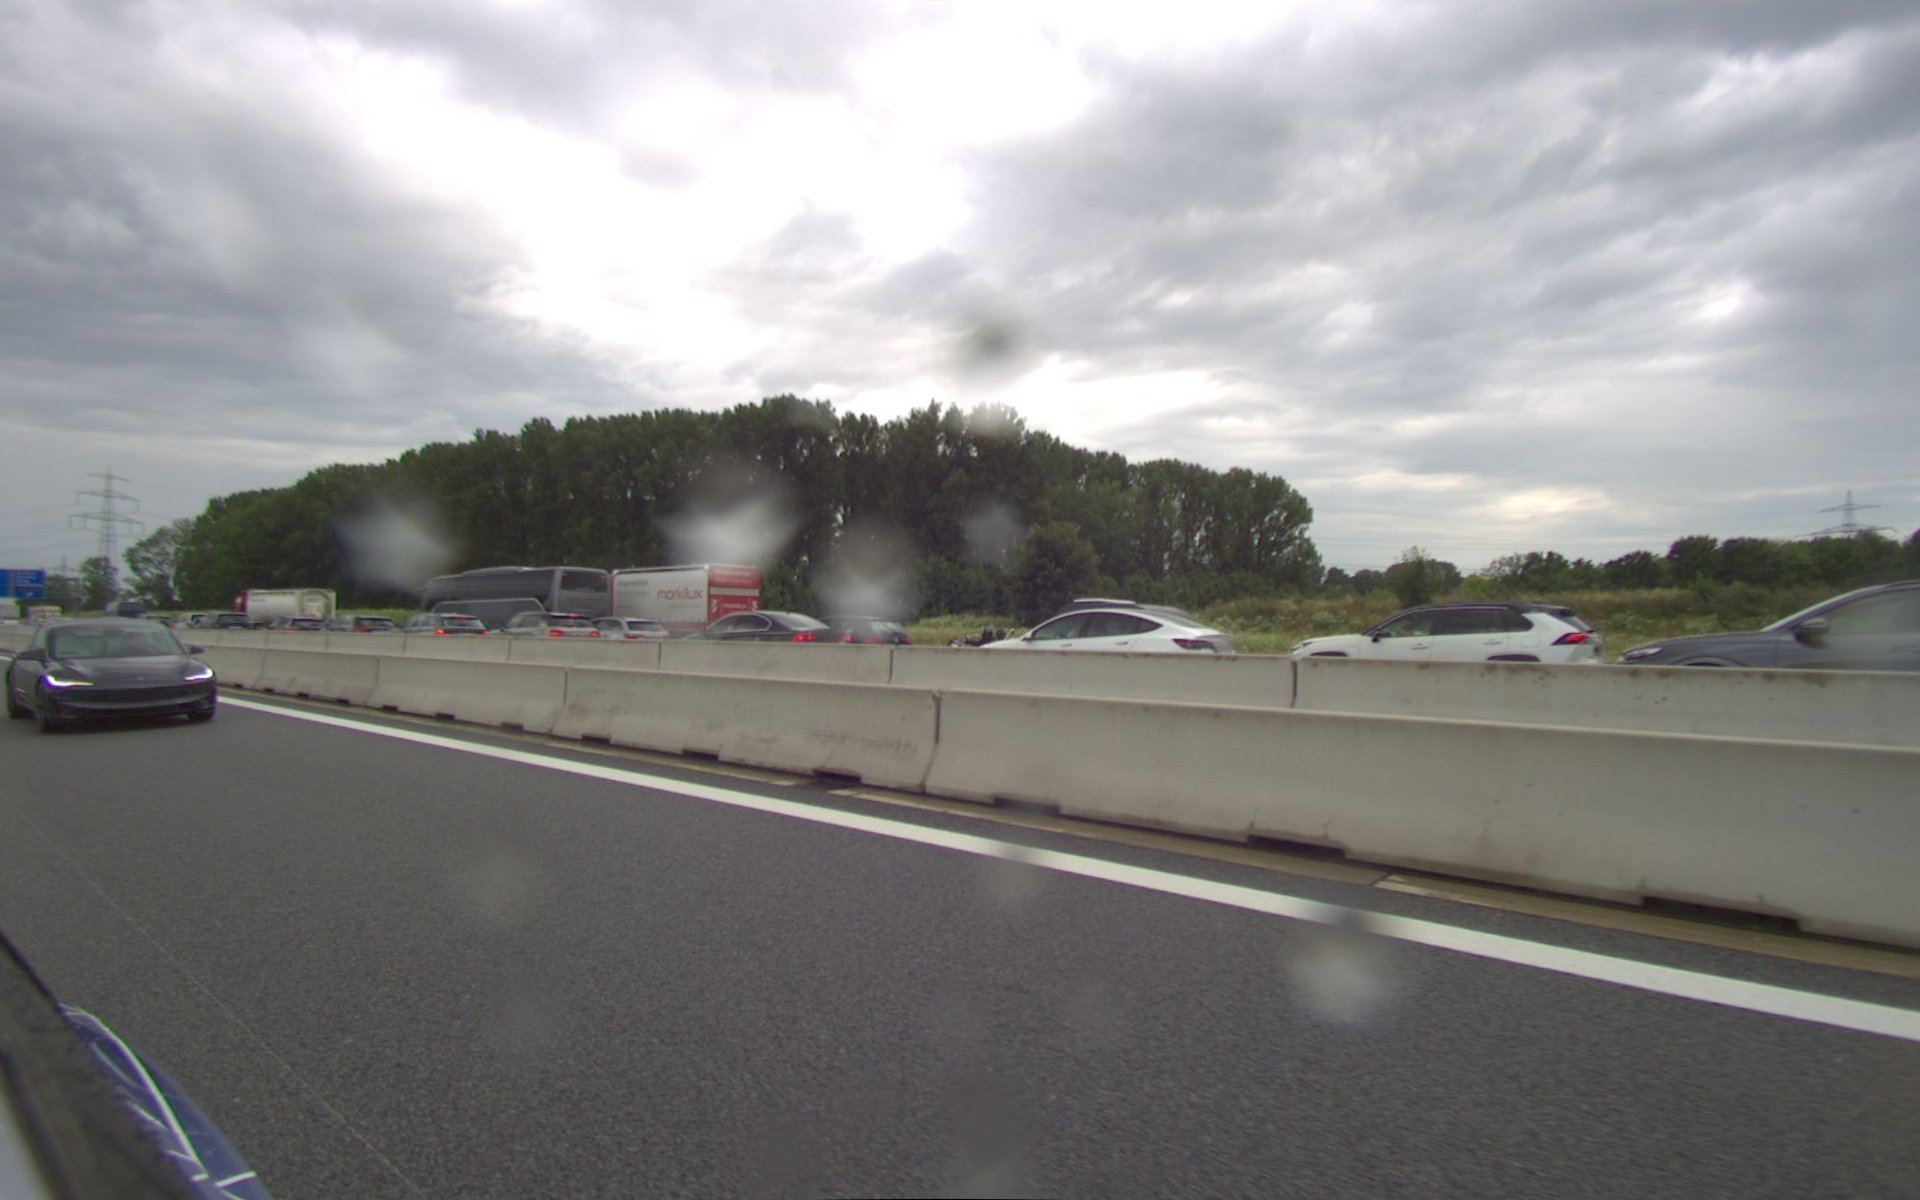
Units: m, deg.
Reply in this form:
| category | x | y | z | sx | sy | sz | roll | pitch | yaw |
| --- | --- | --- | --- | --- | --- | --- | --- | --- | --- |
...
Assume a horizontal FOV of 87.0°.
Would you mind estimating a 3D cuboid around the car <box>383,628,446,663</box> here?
| category | x | y | z | sx | sy | sz | roll | pitch | yaw |
| --- | --- | --- | --- | --- | --- | --- | --- | --- | --- |
| car | -33.487 | 2.744 | 62.082 | 4.423 | 2.029 | 1.973 | -1 | -1 | 41 |

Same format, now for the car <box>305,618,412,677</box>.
| category | x | y | z | sx | sy | sz | roll | pitch | yaw |
| --- | --- | --- | --- | --- | --- | --- | --- | --- | --- |
| car | -21.716 | 1.666 | 36.460 | 4.694 | 1.982 | 1.973 | -1 | -1 | 41 |

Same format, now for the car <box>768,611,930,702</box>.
| category | x | y | z | sx | sy | sz | roll | pitch | yaw |
| --- | --- | --- | --- | --- | --- | --- | --- | --- | --- |
| car | -2.782 | 1.324 | 24.969 | 3.709 | 2.029 | 1.973 | -1 | -1 | 41 |

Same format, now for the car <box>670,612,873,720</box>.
| category | x | y | z | sx | sy | sz | roll | pitch | yaw |
| --- | --- | --- | --- | --- | --- | --- | --- | --- | --- |
| car | -4.068 | 1.306 | 21.489 | 4.347 | 2.029 | 1.973 | -1 | -1 | 41 |

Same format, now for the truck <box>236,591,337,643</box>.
| category | x | y | z | sx | sy | sz | roll | pitch | yaw |
| --- | --- | --- | --- | --- | --- | --- | --- | --- | --- |
| truck | -52.661 | 1.339 | 78.899 | 13.291 | 3.774 | 3.116 | -1 | -1 | 41 |

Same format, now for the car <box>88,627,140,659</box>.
| category | x | y | z | sx | sy | sz | roll | pitch | yaw |
| --- | --- | --- | --- | --- | --- | --- | --- | --- | --- |
| car | -56.450 | 2.842 | 67.490 | 4.694 | 1.982 | 1.973 | -1 | -1 | 41 |

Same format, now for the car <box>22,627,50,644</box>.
| category | x | y | z | sx | sy | sz | roll | pitch | yaw |
| --- | --- | --- | --- | --- | --- | --- | --- | --- | --- |
| car | -116.241 | 4.475 | 127.335 | 4.804 | 2.029 | 1.974 | -1 | -1 | 39 |

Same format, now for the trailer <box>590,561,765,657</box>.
| category | x | y | z | sx | sy | sz | roll | pitch | yaw |
| --- | --- | --- | --- | --- | --- | --- | --- | --- | --- |
| trailer | -12.466 | 0.444 | 44.108 | 9.156 | 3.791 | 2.830 | -1 | -2 | 41 |

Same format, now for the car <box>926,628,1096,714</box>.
| category | x | y | z | sx | sy | sz | roll | pitch | yaw |
| --- | --- | --- | --- | --- | --- | --- | --- | --- | --- |
| car | 1.286 | 1.755 | 26.435 | 3.998 | 2.029 | 2.094 | -1 | -1 | 41 |

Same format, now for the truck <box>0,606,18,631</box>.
| category | x | y | z | sx | sy | sz | roll | pitch | yaw |
| --- | --- | --- | --- | --- | --- | --- | --- | --- | --- |
| truck | -166.409 | 3.242 | 175.337 | 13.940 | 4.345 | 3.116 | -1 | -1 | 40 |

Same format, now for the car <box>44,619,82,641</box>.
| category | x | y | z | sx | sy | sz | roll | pitch | yaw |
| --- | --- | --- | --- | --- | --- | --- | --- | --- | --- |
| car | -70.654 | 2.351 | 79.696 | 3.998 | 1.732 | 1.785 | -1 | -1 | 41 |

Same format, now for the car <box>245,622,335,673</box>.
| category | x | y | z | sx | sy | sz | roll | pitch | yaw |
| --- | --- | --- | --- | --- | --- | --- | --- | --- | --- |
| car | -27.895 | 1.931 | 42.057 | 4.694 | 1.982 | 1.973 | -1 | -1 | 41 |

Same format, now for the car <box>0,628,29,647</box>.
| category | x | y | z | sx | sy | sz | roll | pitch | yaw |
| --- | --- | --- | --- | --- | --- | --- | --- | --- | --- |
| car | -107.175 | 4.198 | 114.679 | 4.532 | 2.029 | 1.831 | -1 | -1 | 39 |

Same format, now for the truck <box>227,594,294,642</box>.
| category | x | y | z | sx | sy | sz | roll | pitch | yaw |
| --- | --- | --- | --- | --- | --- | --- | --- | --- | --- |
| truck | -57.457 | 1.481 | 83.091 | 6.316 | 3.740 | 3.117 | -1 | -1 | 41 |

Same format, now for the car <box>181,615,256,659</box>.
| category | x | y | z | sx | sy | sz | roll | pitch | yaw |
| --- | --- | --- | --- | --- | --- | --- | --- | --- | --- |
| car | -35.620 | 1.748 | 48.583 | 4.694 | 1.982 | 1.973 | -1 | -1 | 41 |

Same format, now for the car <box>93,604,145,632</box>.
| category | x | y | z | sx | sy | sz | roll | pitch | yaw |
| --- | --- | --- | --- | --- | --- | --- | --- | --- | --- |
| car | -67.756 | 1.439 | 81.480 | 6.814 | 2.181 | 2.235 | -1 | -1 | 41 |

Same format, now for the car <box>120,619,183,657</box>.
| category | x | y | z | sx | sy | sz | roll | pitch | yaw |
| --- | --- | --- | --- | --- | --- | --- | --- | --- | --- |
| car | -45.467 | 2.102 | 56.882 | 4.694 | 1.982 | 1.973 | -1 | -1 | 41 |

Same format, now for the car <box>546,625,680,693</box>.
| category | x | y | z | sx | sy | sz | roll | pitch | yaw |
| --- | --- | --- | --- | --- | --- | --- | --- | --- | --- |
| car | -11.152 | 1.815 | 32.363 | 4.694 | 1.982 | 1.973 | -1 | -1 | 41 |

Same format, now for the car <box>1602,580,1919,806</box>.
| category | x | y | z | sx | sy | sz | roll | pitch | yaw |
| --- | --- | --- | --- | --- | --- | --- | --- | --- | --- |
| car | 9.470 | 0.832 | 9.640 | 5.416 | 2.029 | 1.973 | -1 | -1 | 41 |

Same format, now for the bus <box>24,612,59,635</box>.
| category | x | y | z | sx | sy | sz | roll | pitch | yaw |
| --- | --- | --- | --- | --- | --- | --- | --- | --- | --- |
| bus | -135.699 | 3.495 | 149.473 | 9.958 | 3.358 | 2.802 | -1 | -1 | 41 |

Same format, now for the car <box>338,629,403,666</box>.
| category | x | y | z | sx | sy | sz | roll | pitch | yaw |
| --- | --- | --- | --- | --- | --- | --- | --- | --- | --- |
| car | -33.876 | 2.688 | 58.142 | 4.225 | 2.029 | 1.973 | -1 | -1 | 41 |

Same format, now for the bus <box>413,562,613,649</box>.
| category | x | y | z | sx | sy | sz | roll | pitch | yaw |
| --- | --- | --- | --- | --- | --- | --- | --- | --- | --- |
| bus | -20.535 | 0.337 | 45.669 | 13.991 | 3.411 | 2.659 | -1 | -1 | 41 |

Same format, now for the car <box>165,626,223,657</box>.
| category | x | y | z | sx | sy | sz | roll | pitch | yaw |
| --- | --- | --- | --- | --- | --- | --- | --- | --- | --- |
| car | -49.515 | 2.633 | 65.372 | 4.927 | 1.918 | 1.973 | -1 | -1 | 40 |

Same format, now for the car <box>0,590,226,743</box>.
| category | x | y | z | sx | sy | sz | roll | pitch | yaw |
| --- | --- | --- | --- | --- | --- | --- | --- | --- | --- |
| car | -12.413 | 0.840 | 14.568 | 5.161 | 1.834 | 1.972 | -1 | -1 | 42 |

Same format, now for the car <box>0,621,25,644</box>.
| category | x | y | z | sx | sy | sz | roll | pitch | yaw |
| --- | --- | --- | --- | --- | --- | --- | --- | --- | --- |
| car | -89.793 | 3.043 | 95.328 | 4.261 | 2.029 | 1.973 | -1 | -1 | 40 |

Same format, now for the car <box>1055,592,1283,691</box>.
| category | x | y | z | sx | sy | sz | roll | pitch | yaw |
| --- | --- | --- | --- | --- | --- | --- | --- | --- | --- |
| car | 4.695 | 0.893 | 23.263 | 4.827 | 2.029 | 1.971 | -1 | -1 | 44 |

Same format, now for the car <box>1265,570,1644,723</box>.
| category | x | y | z | sx | sy | sz | roll | pitch | yaw |
| --- | --- | --- | --- | --- | --- | --- | --- | --- | --- |
| car | 7.560 | 0.655 | 15.815 | 4.970 | 2.029 | 1.973 | -1 | -1 | 41 |

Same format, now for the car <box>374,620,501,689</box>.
| category | x | y | z | sx | sy | sz | roll | pitch | yaw |
| --- | --- | --- | --- | --- | --- | --- | --- | --- | --- |
| car | -16.458 | 1.652 | 31.792 | 4.694 | 1.982 | 1.973 | -1 | -1 | 41 |

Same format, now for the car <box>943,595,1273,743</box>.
| category | x | y | z | sx | sy | sz | roll | pitch | yaw |
| --- | --- | --- | --- | --- | --- | --- | --- | --- | --- |
| car | 2.226 | 0.993 | 16.250 | 4.970 | 2.029 | 1.973 | -1 | -1 | 41 |

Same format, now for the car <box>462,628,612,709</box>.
| category | x | y | z | sx | sy | sz | roll | pitch | yaw |
| --- | --- | --- | --- | --- | --- | --- | --- | --- | --- |
| car | -11.752 | 1.798 | 27.988 | 4.694 | 2.029 | 1.973 | -1 | -1 | 41 |

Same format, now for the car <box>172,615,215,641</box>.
| category | x | y | z | sx | sy | sz | roll | pitch | yaw |
| --- | --- | --- | --- | --- | --- | --- | --- | --- | --- |
| car | -61.185 | 2.209 | 80.782 | 4.210 | 1.962 | 1.973 | -1 | -1 | 41 |
